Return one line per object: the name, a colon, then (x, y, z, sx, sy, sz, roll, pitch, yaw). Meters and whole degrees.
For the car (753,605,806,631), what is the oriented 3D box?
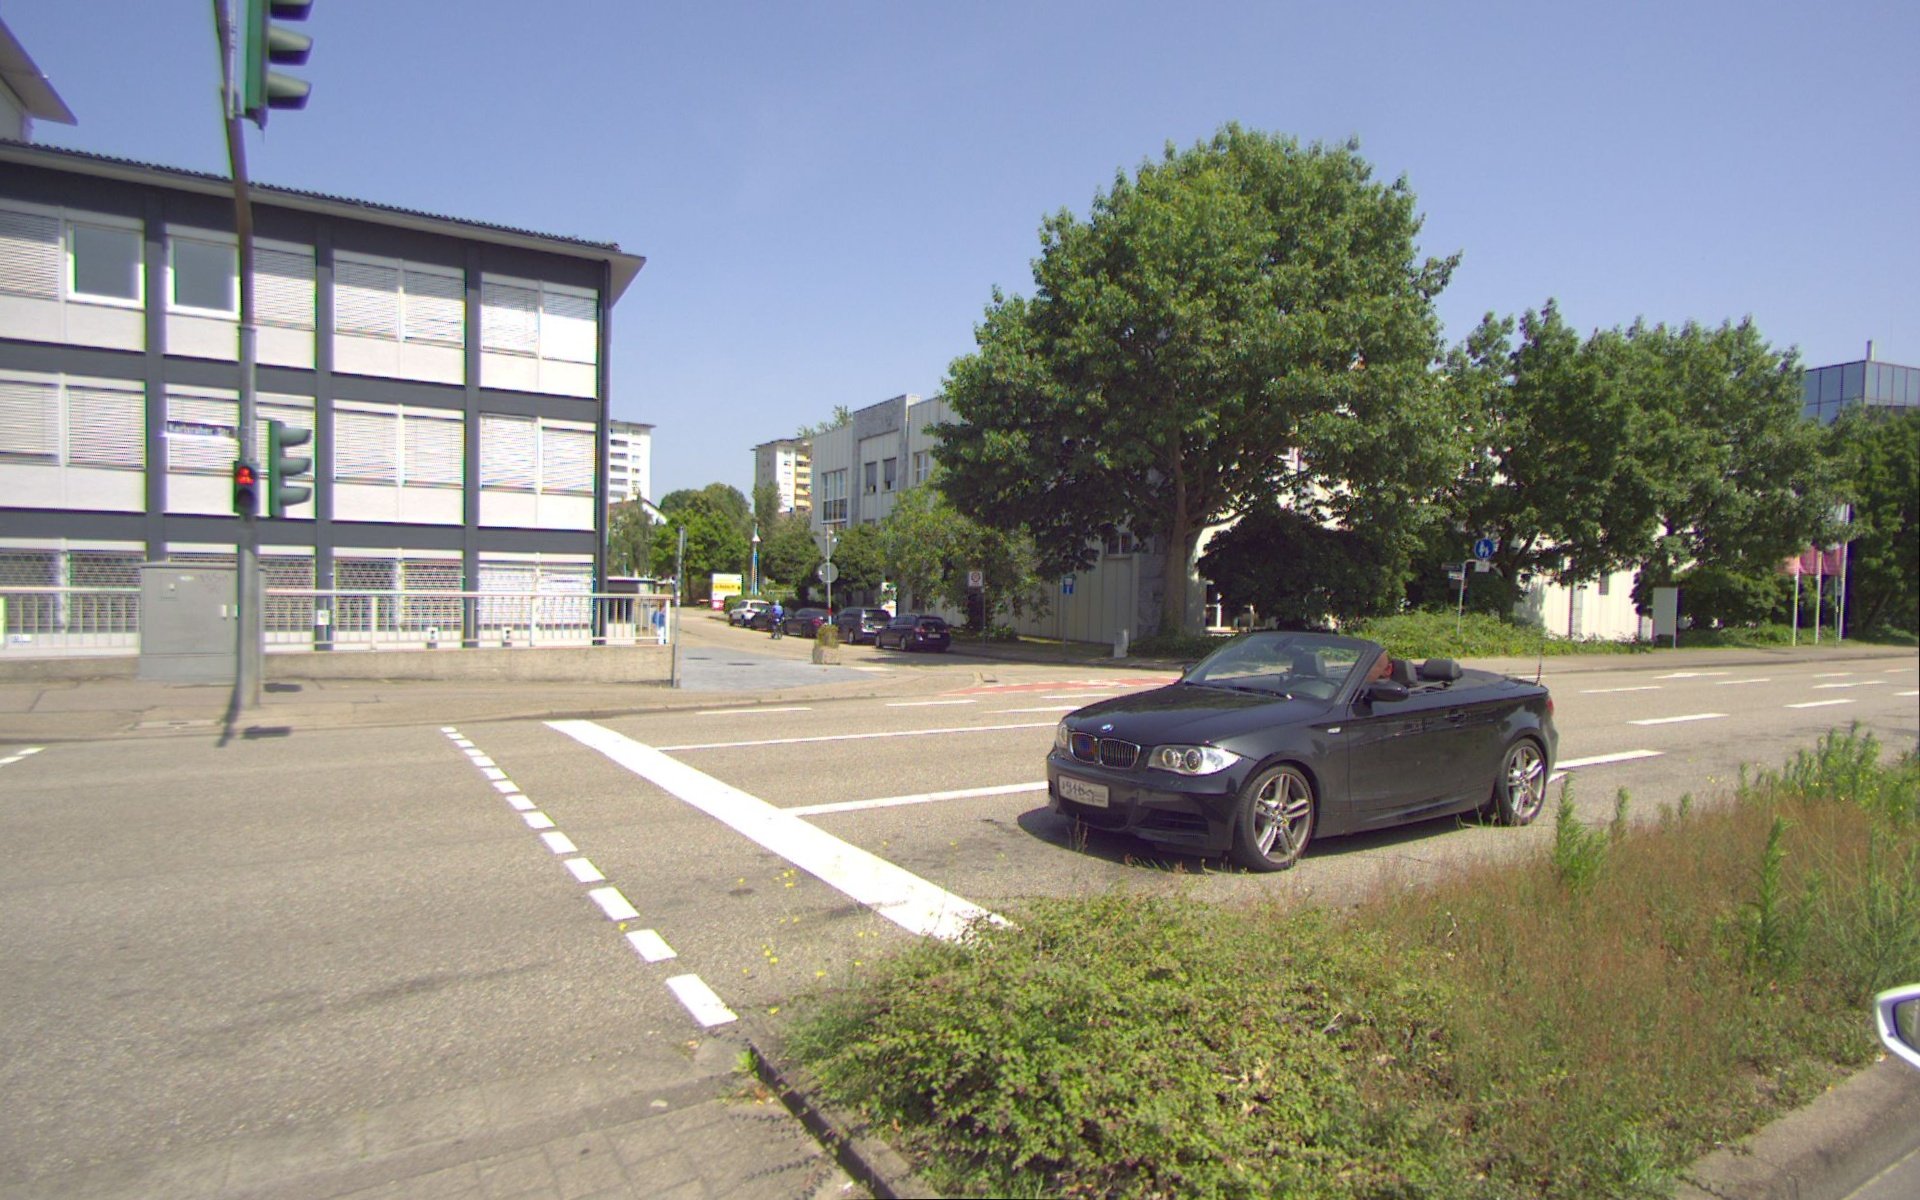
car: (-9.964, 0.973, 55.192, 1.790, 1.389, 3.971, 1, -1, -28)

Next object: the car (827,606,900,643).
car: (-4.370, 1.085, 44.998, 1.697, 1.550, 3.966, 1, 0, -31)

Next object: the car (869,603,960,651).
car: (-1.851, 1.039, 39.577, 1.897, 1.617, 3.967, 2, 2, -30)

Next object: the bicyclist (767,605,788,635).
bicyclist: (-8.677, 0.944, 47.742, 0.736, 1.428, 0.853, 1, 0, -30)

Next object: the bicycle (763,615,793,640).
bicycle: (-8.648, 1.275, 47.684, 0.773, 1.128, 2.164, 1, -1, -29)

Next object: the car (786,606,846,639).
car: (-7.188, 1.083, 49.967, 1.697, 1.550, 3.632, 1, -1, -31)

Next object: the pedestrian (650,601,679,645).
pedestrian: (-11.334, 0.888, 38.512, 0.853, 1.646, 0.676, 1, 0, -41)

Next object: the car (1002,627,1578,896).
car: (2.452, 0.898, 7.073, 4.107, 1.341, 1.718, 1, 0, -34)

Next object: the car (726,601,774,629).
car: (-12.587, 0.867, 60.074, 1.697, 1.595, 3.969, 1, -1, -29)
